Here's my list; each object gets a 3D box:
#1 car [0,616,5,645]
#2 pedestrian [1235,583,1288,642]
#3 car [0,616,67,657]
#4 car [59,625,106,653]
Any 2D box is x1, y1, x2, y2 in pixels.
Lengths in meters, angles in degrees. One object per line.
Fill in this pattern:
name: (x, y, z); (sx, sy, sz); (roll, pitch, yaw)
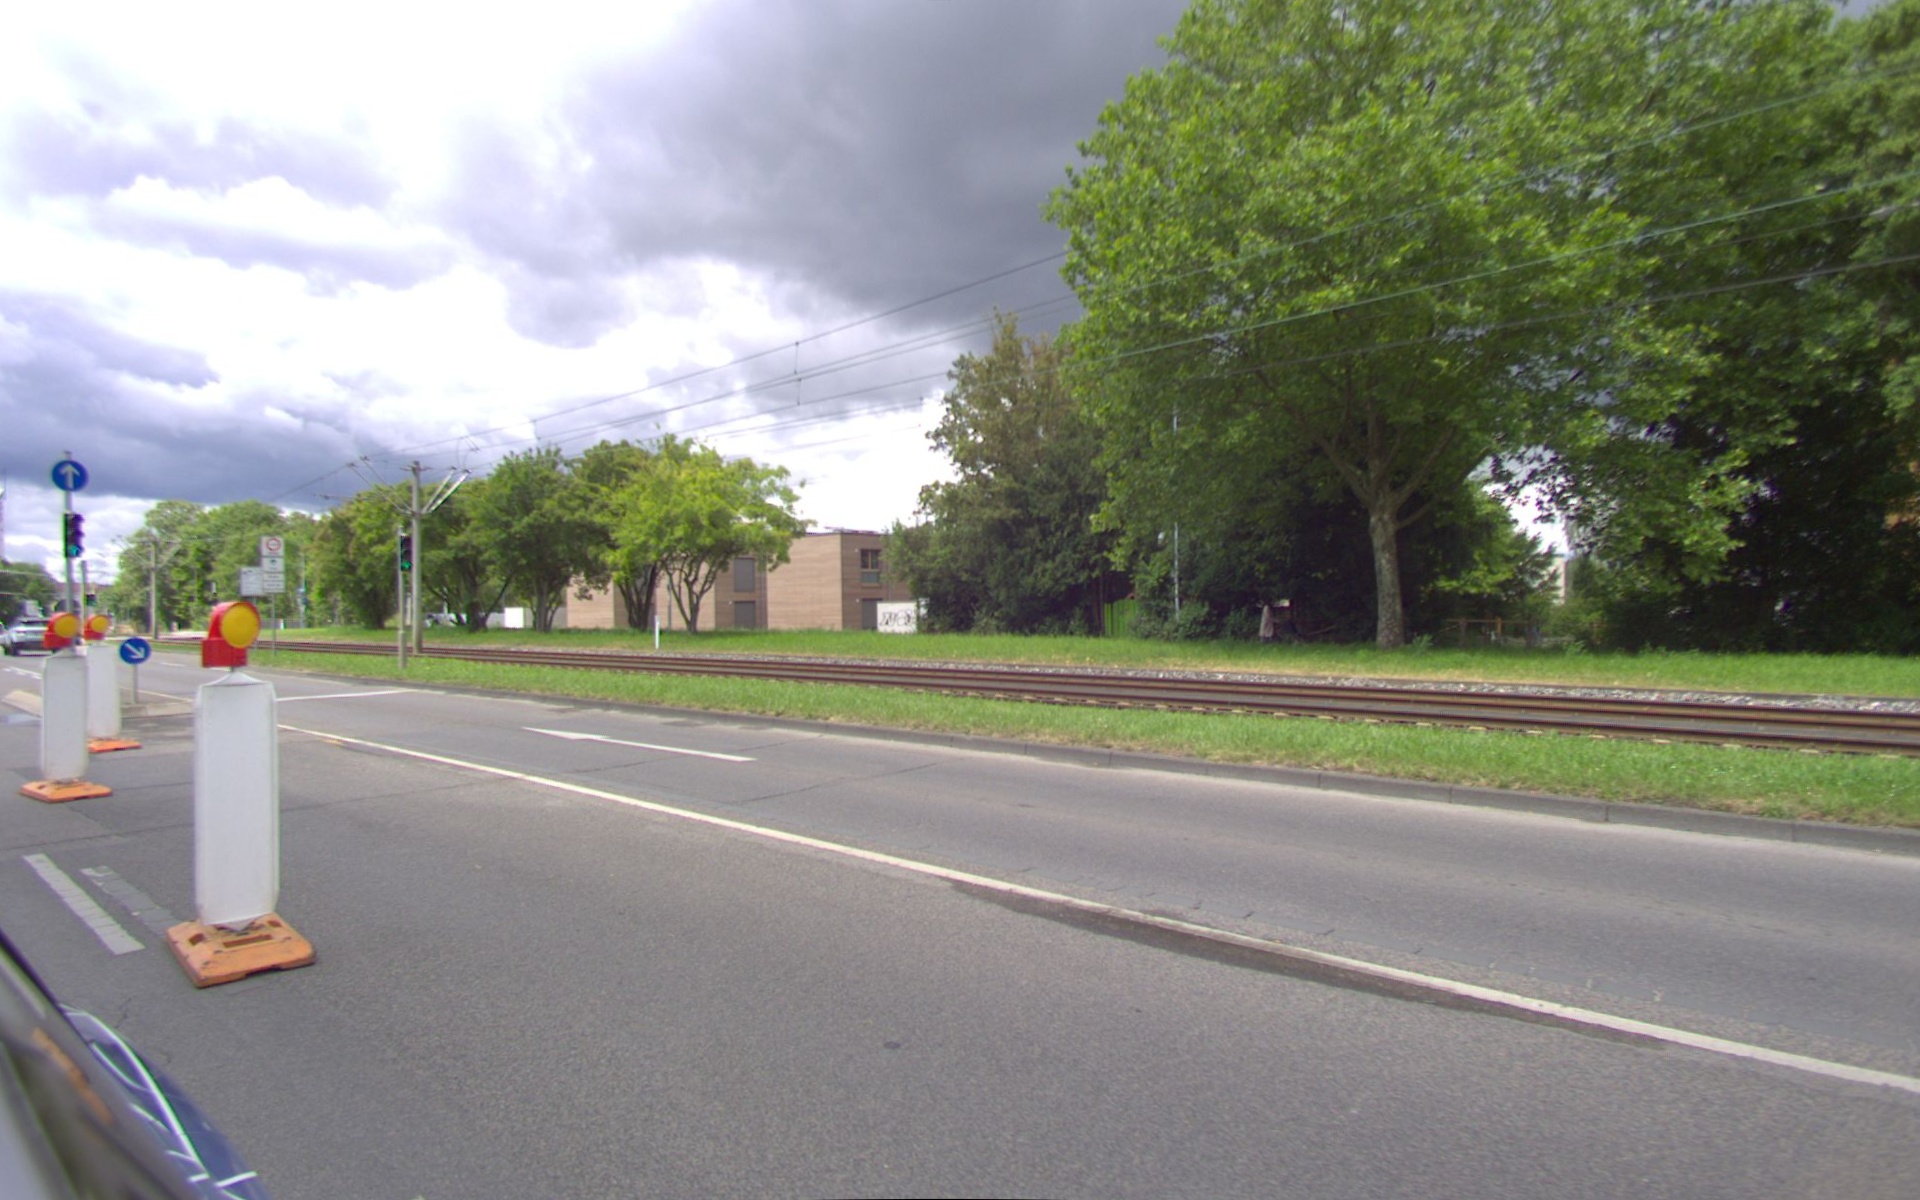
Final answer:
car: (-57.327, 1.785, 59.142); (4.260, 1.624, 1.711); (0, 1, 40)
pedestrian: (10.252, 0.411, 34.426); (1.363, 1.948, 1.023); (-2, -1, 42)
car: (-39.666, 1.513, 43.265); (4.608, 1.622, 1.840); (-1, -1, 43)
car: (-57.817, 2.537, 66.647); (4.524, 1.672, 1.971); (-1, 0, 44)
